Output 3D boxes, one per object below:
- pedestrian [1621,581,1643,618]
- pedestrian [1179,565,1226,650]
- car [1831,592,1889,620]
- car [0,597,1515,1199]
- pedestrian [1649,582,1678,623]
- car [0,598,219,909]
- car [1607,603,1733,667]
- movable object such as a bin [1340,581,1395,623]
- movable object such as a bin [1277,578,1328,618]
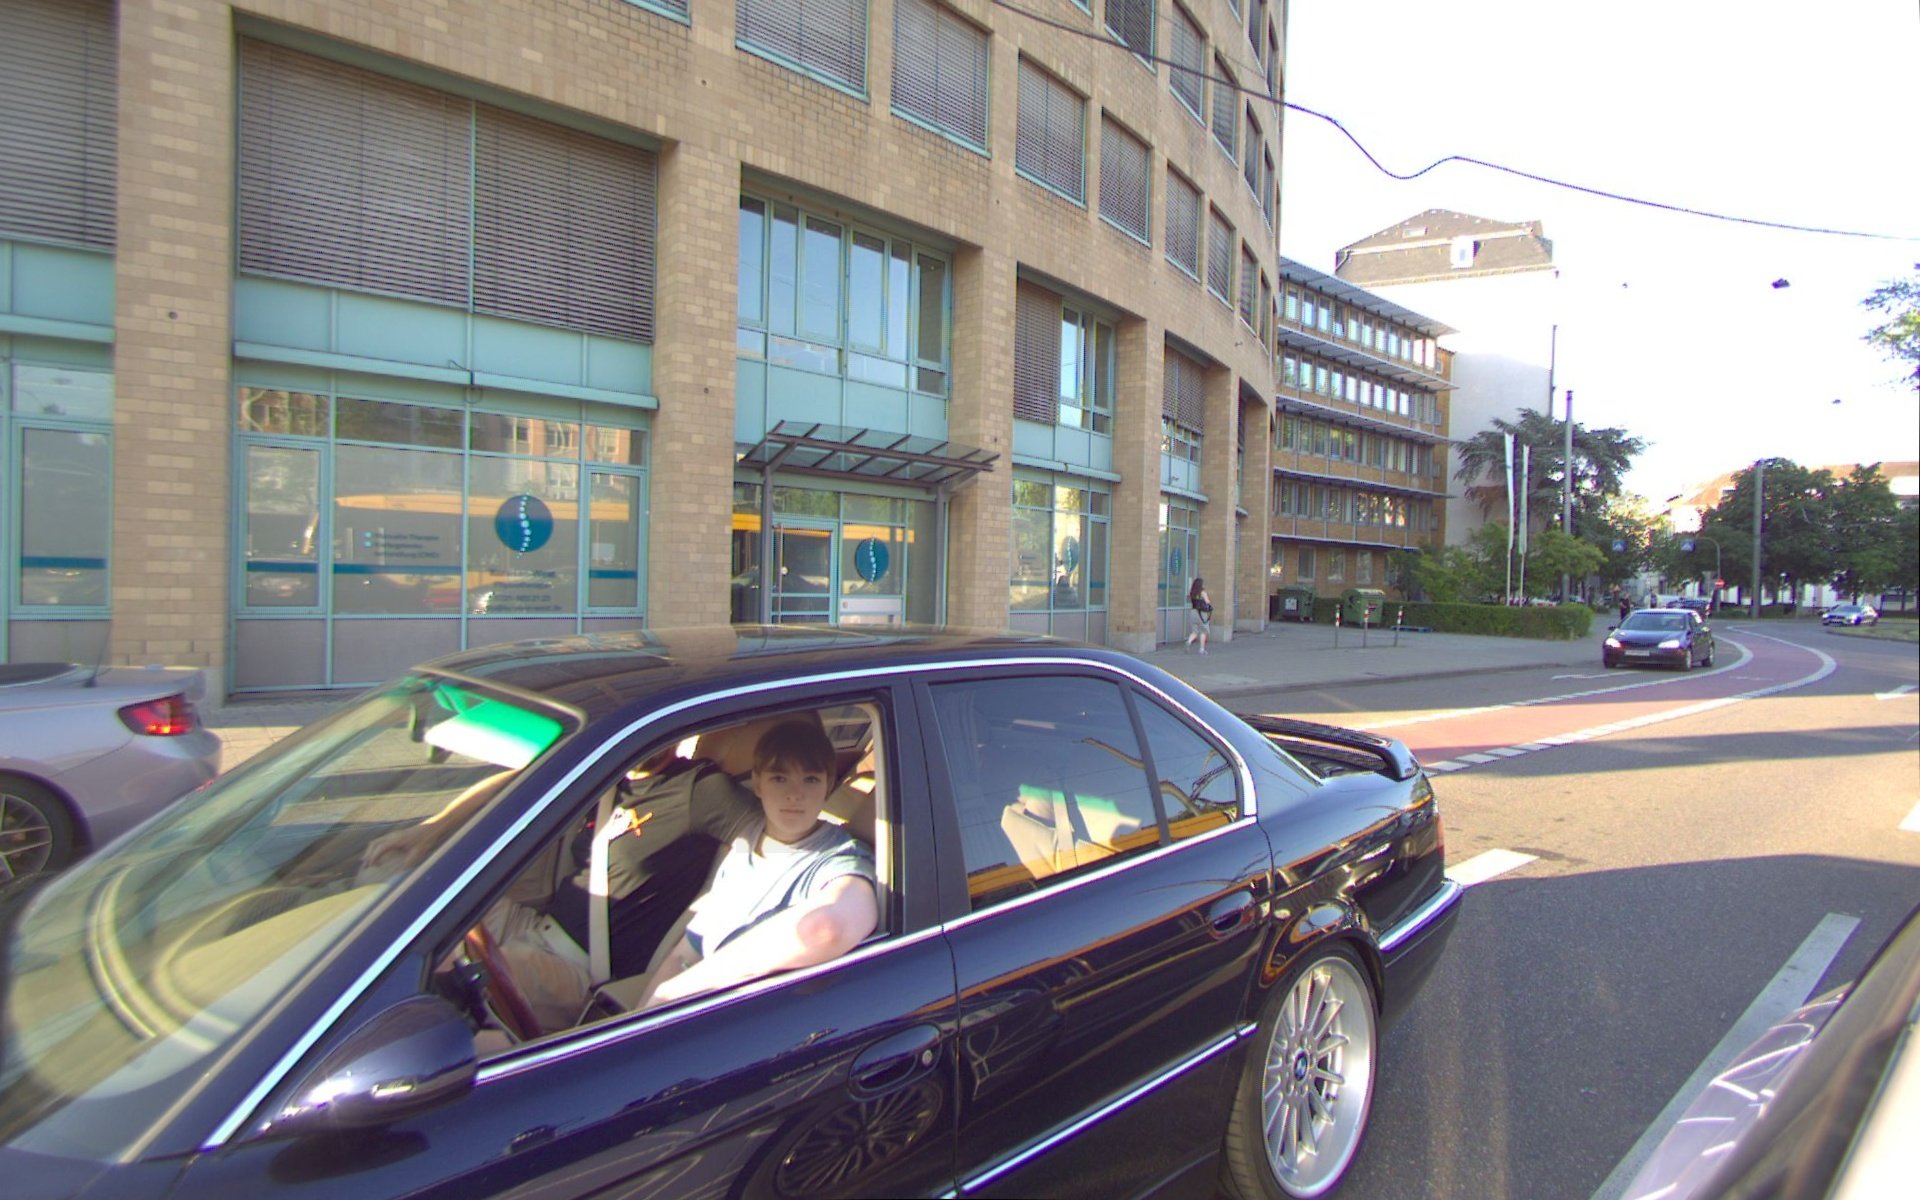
[{"bbox_3d":[33.826,-0.014,50.949,0.711,1.830,0.728,0,1,-41],"label":"pedestrian"},{"bbox_3d":[4.977,0.147,20.764,0.702,1.702,0.626,0,1,-44],"label":"pedestrian"},{"bbox_3d":[59.719,0.404,67.149,3.924,1.771,2.000,0,1,-35],"label":"car"},{"bbox_3d":[-0.711,0.711,2.330,4.656,1.402,1.997,0,1,-41],"label":"car"},{"bbox_3d":[34.020,0.099,48.976,0.901,1.918,1.118,1,1,23],"label":"pedestrian"},{"bbox_3d":[-5.894,0.697,4.454,4.152,1.403,1.747,0,0,-40],"label":"car"},{"bbox_3d":[17.696,0.806,25.167,3.932,1.404,1.757,0,1,-42],"label":"car"},{"bbox_3d":[14.874,0.070,36.960,1.311,1.477,1.424,0,1,-45],"label":"movable object such as a bin"},{"bbox_3d":[13.356,-0.084,39.505,1.310,1.477,1.425,0,1,-43],"label":"movable object such as a bin"}]
